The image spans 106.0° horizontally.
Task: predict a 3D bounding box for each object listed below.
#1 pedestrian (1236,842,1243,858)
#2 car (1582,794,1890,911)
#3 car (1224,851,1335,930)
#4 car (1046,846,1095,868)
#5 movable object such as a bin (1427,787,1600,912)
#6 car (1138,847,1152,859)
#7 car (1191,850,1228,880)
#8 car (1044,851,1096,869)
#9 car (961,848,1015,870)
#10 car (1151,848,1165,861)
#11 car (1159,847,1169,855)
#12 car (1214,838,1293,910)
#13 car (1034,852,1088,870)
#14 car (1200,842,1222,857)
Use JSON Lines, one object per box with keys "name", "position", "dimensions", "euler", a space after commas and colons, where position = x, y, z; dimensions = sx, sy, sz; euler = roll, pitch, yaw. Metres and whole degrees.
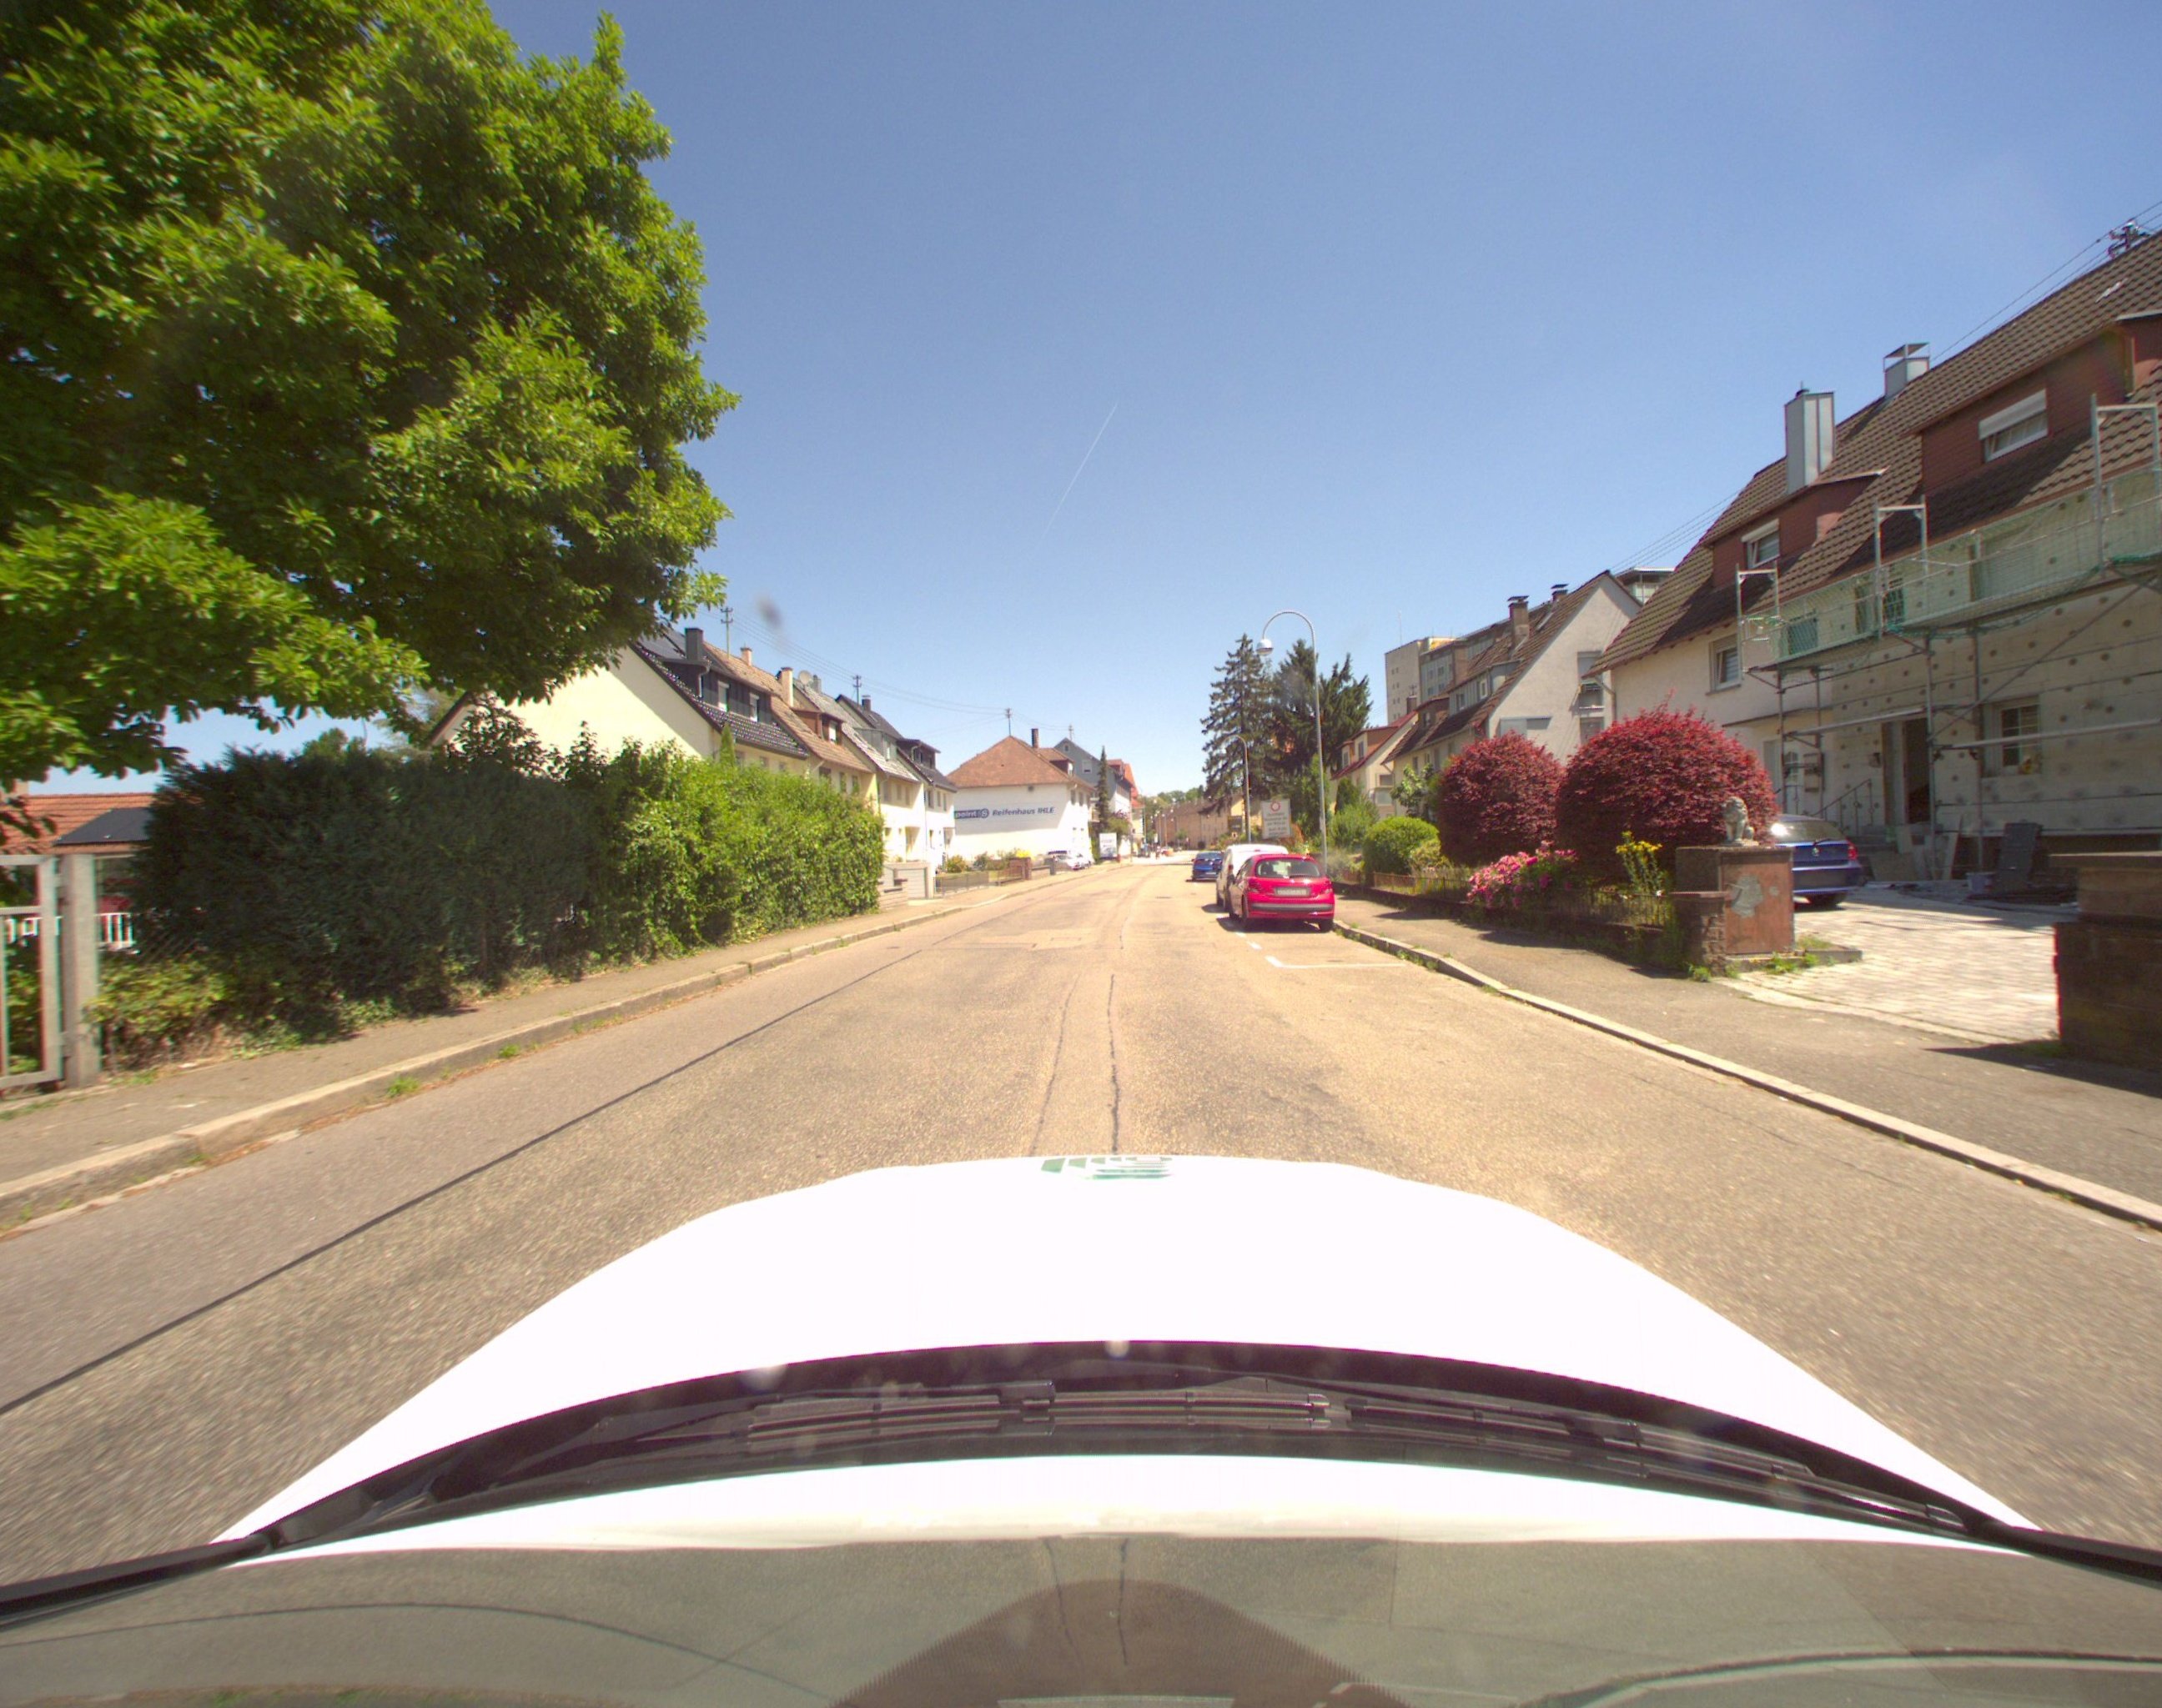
{"name": "pedestrian", "position": [17.200, -0.418, 88.471], "dimensions": [0.684, 1.770, 0.694], "euler": [-1, -2, 14]}
{"name": "car", "position": [10.332, -0.059, 13.308], "dimensions": [1.788, 1.510, 4.001], "euler": [-4, 1, 1]}
{"name": "car", "position": [4.008, 0.664, 17.047], "dimensions": [1.656, 1.454, 4.005], "euler": [0, 0, 5]}
{"name": "car", "position": [-0.930, 0.270, 71.509], "dimensions": [4.111, 1.774, 1.830], "euler": [-2, 0, 3]}
{"name": "movable object such as a bin", "position": [10.024, -0.101, 19.059], "dimensions": [3.133, 2.747, 1.708], "euler": [-1, 0, 2]}
{"name": "car", "position": [9.529, -0.134, 121.163], "dimensions": [1.748, 1.656, 4.008], "euler": [-2, 0, 7]}
{"name": "car", "position": [6.413, 0.532, 41.001], "dimensions": [1.768, 1.405, 4.296], "euler": [0, 0, 8]}
{"name": "car", "position": [-0.916, 0.487, 68.964], "dimensions": [4.107, 1.394, 1.832], "euler": [-2, 1, 6]}
{"name": "car", "position": [-6.984, 0.387, 60.868], "dimensions": [3.950, 1.510, 1.811], "euler": [-1, 1, 43]}
{"name": "car", "position": [10.662, 0.012, 112.820], "dimensions": [1.748, 1.655, 4.008], "euler": [-2, 1, 7]}
{"name": "car", "position": [16.411, -0.659, 161.290], "dimensions": [1.590, 1.606, 3.410], "euler": [-1, 0, 0]}
{"name": "car", "position": [4.564, 0.509, 22.032], "dimensions": [1.655, 1.755, 4.006], "euler": [0, 0, 5]}
{"name": "car", "position": [-1.658, 0.571, 66.033], "dimensions": [4.089, 1.343, 1.923], "euler": [-1, 1, 41]}
{"name": "car", "position": [14.249, -0.480, 89.035], "dimensions": [1.780, 1.510, 4.018], "euler": [-1, 1, 17]}
